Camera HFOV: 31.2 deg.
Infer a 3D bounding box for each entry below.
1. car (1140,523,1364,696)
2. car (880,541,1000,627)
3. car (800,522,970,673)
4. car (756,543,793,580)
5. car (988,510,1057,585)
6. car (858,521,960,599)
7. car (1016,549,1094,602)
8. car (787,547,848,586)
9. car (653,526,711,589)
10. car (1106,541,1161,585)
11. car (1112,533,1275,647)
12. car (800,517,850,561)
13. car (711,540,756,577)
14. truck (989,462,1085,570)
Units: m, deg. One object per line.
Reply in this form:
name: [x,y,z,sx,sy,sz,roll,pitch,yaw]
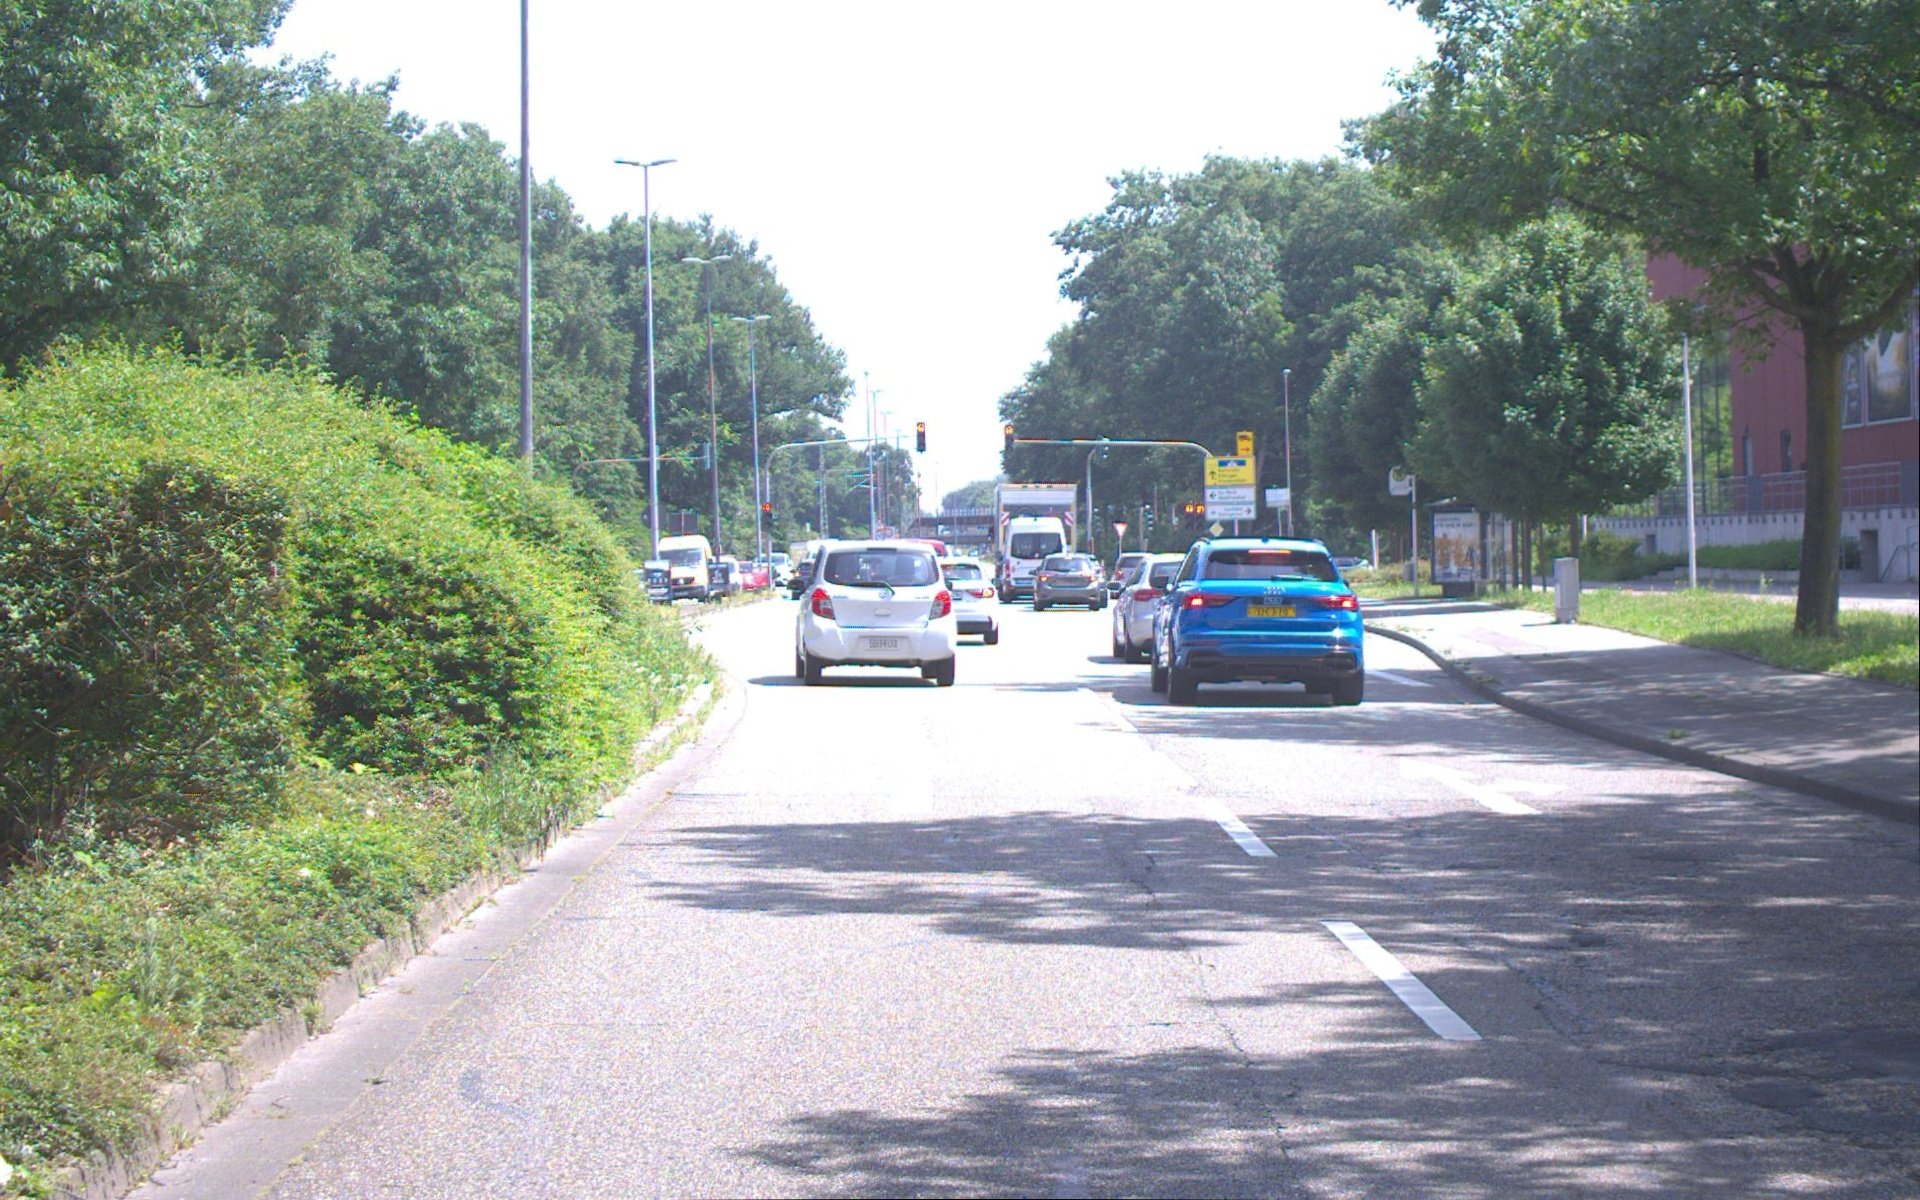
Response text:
car: [2.815,0.071,33.948,1.808,1.587,4.349,0,0,0]
car: [-0.328,-0.260,56.199,1.884,1.349,4.000,0,0,0]
car: [-0.852,-0.041,37.254,1.638,1.547,3.325,-1,0,-4]
car: [-6.944,-1.446,128.673,1.368,1.304,2.694,-2,1,-3]
car: [1.926,-1.644,107.086,1.993,2.248,4.000,-1,1,0]
car: [-1.059,-0.798,69.105,1.794,1.518,4.001,0,0,-4]
car: [2.503,-0.662,91.433,1.865,1.305,4.000,-2,1,-1]
car: [-5.048,-1.207,122.138,1.993,1.284,4.000,-1,1,0]
car: [-10.375,-1.572,128.559,1.779,2.274,4.752,0,0,0]
car: [5.933,-1.286,118.105,1.633,1.459,4.000,-1,1,0]
car: [3.112,-0.145,46.477,1.865,1.468,4.000,0,0,-1]
car: [-6.443,-2.924,164.253,1.994,2.007,4.000,-2,1,3]
car: [-10.363,-1.896,156.966,1.820,1.667,3.852,0,0,-7]
truck: [2.568,-2.847,117.484,2.932,3.490,9.158,-1,1,0]
